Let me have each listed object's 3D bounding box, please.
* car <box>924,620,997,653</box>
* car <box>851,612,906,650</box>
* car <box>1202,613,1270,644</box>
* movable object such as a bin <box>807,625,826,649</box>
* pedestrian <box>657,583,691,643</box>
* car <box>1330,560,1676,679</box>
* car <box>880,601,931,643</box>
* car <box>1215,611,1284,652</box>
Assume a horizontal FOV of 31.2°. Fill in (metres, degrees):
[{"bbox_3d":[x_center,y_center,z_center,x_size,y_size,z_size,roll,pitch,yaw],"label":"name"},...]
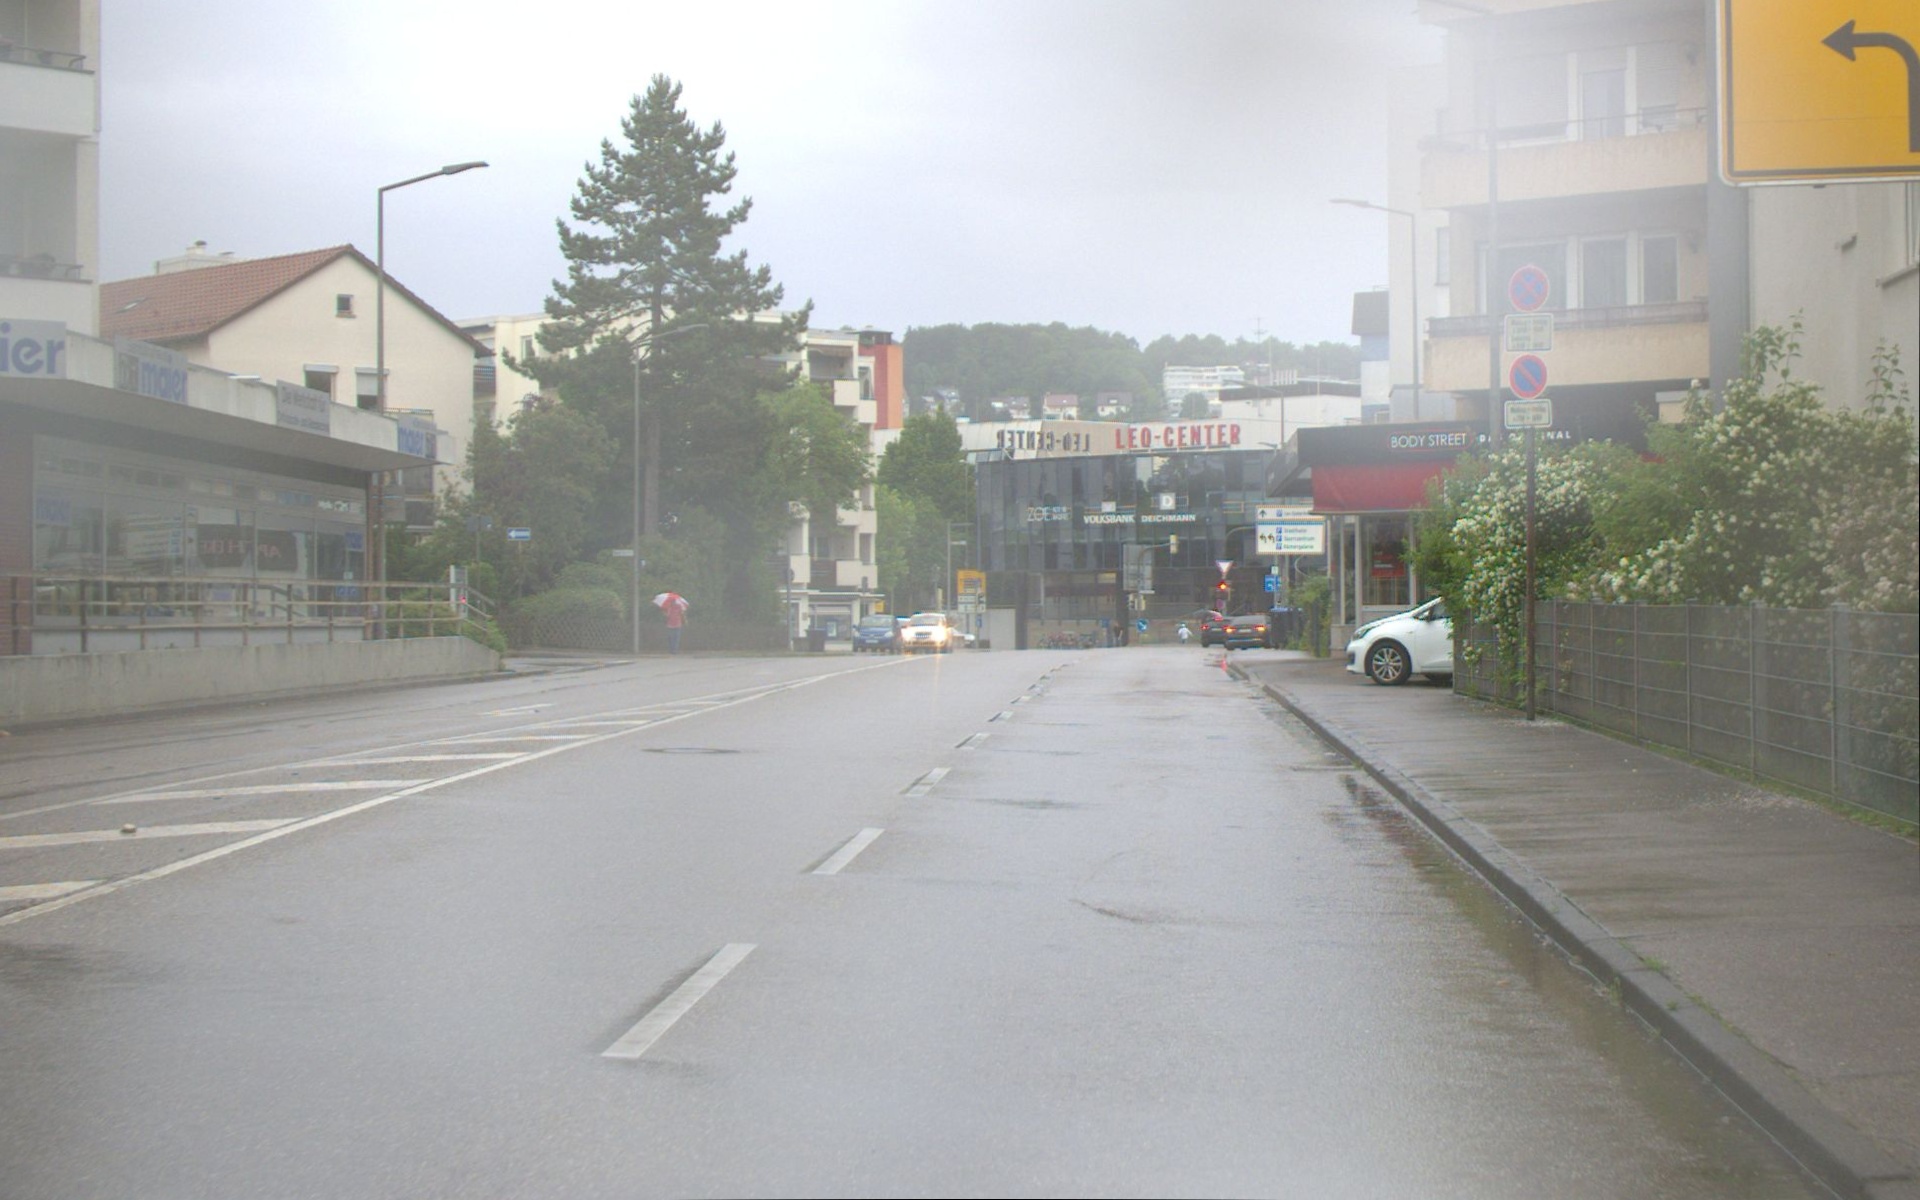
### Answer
[{"bbox_3d":[-0.004,2.024,190.857,1.993,1.507,4.434,3,1,-31],"label":"car"},{"bbox_3d":[-3.250,1.249,138.313,1.652,1.516,4.323,0,-1,6],"label":"car"},{"bbox_3d":[12.904,1.317,160.723,1.807,1.414,3.994,-1,-1,26],"label":"car"},{"bbox_3d":[-5.602,1.445,134.308,0.648,0.962,0.682,-1,-1,6],"label":"movable object such as a bin"},{"bbox_3d":[-7.680,0.361,92.311,0.869,1.601,1.103,0,-1,-3],"label":"pedestrian"},{"bbox_3d":[7.384,0.232,46.839,4.265,1.489,1.869,1,2,32],"label":"car"},{"bbox_3d":[-2.013,0.798,127.986,1.697,1.404,4.000,-3,1,2],"label":"car"},{"bbox_3d":[11.926,1.295,141.391,1.995,1.528,4.643,1,-2,16],"label":"car"}]
